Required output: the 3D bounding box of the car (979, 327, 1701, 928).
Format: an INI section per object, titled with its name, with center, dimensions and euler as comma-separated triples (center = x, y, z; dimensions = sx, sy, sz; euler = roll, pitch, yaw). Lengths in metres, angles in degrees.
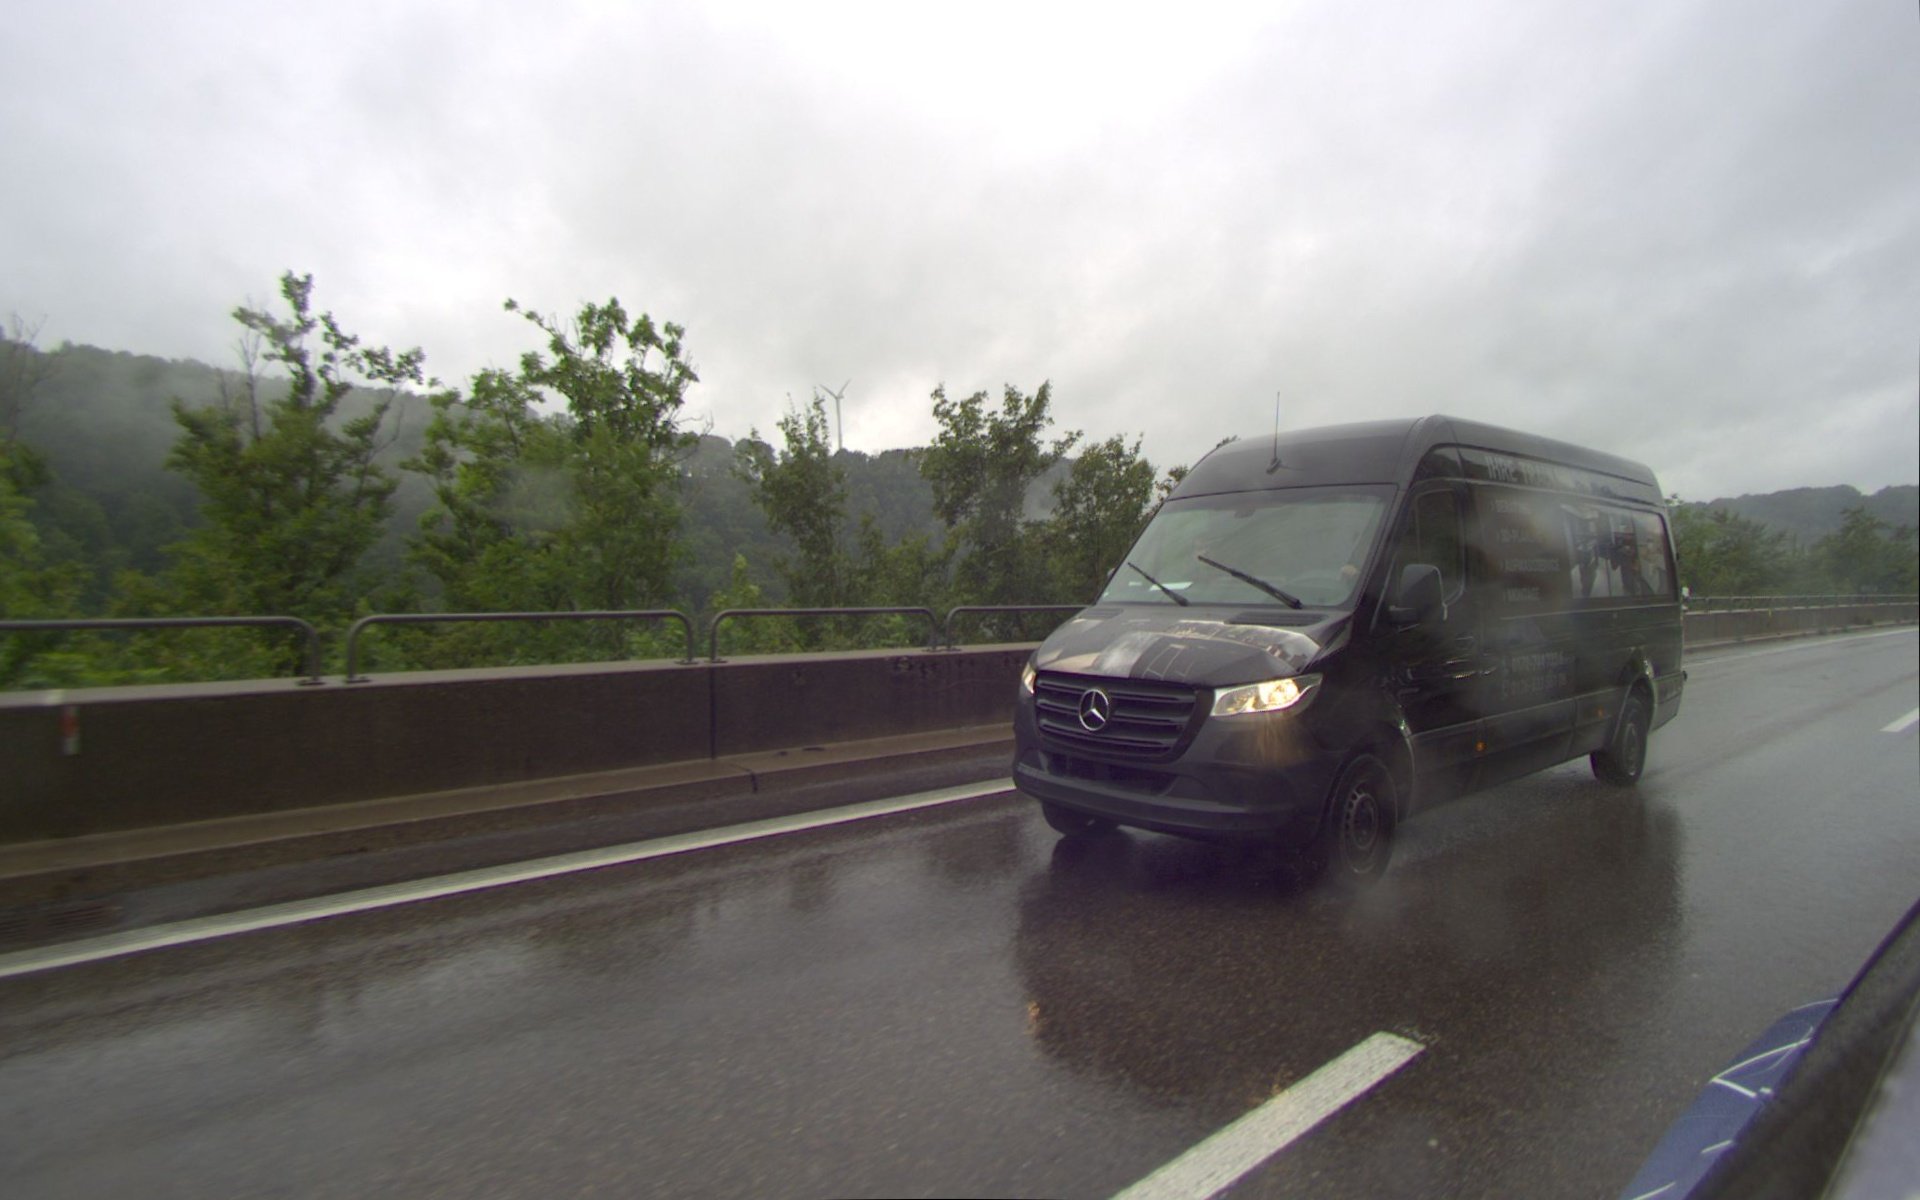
[car]
center = 3.220, 0.085, 7.206
dimensions = 6.589, 2.525, 1.996
euler = 0, 1, -42
